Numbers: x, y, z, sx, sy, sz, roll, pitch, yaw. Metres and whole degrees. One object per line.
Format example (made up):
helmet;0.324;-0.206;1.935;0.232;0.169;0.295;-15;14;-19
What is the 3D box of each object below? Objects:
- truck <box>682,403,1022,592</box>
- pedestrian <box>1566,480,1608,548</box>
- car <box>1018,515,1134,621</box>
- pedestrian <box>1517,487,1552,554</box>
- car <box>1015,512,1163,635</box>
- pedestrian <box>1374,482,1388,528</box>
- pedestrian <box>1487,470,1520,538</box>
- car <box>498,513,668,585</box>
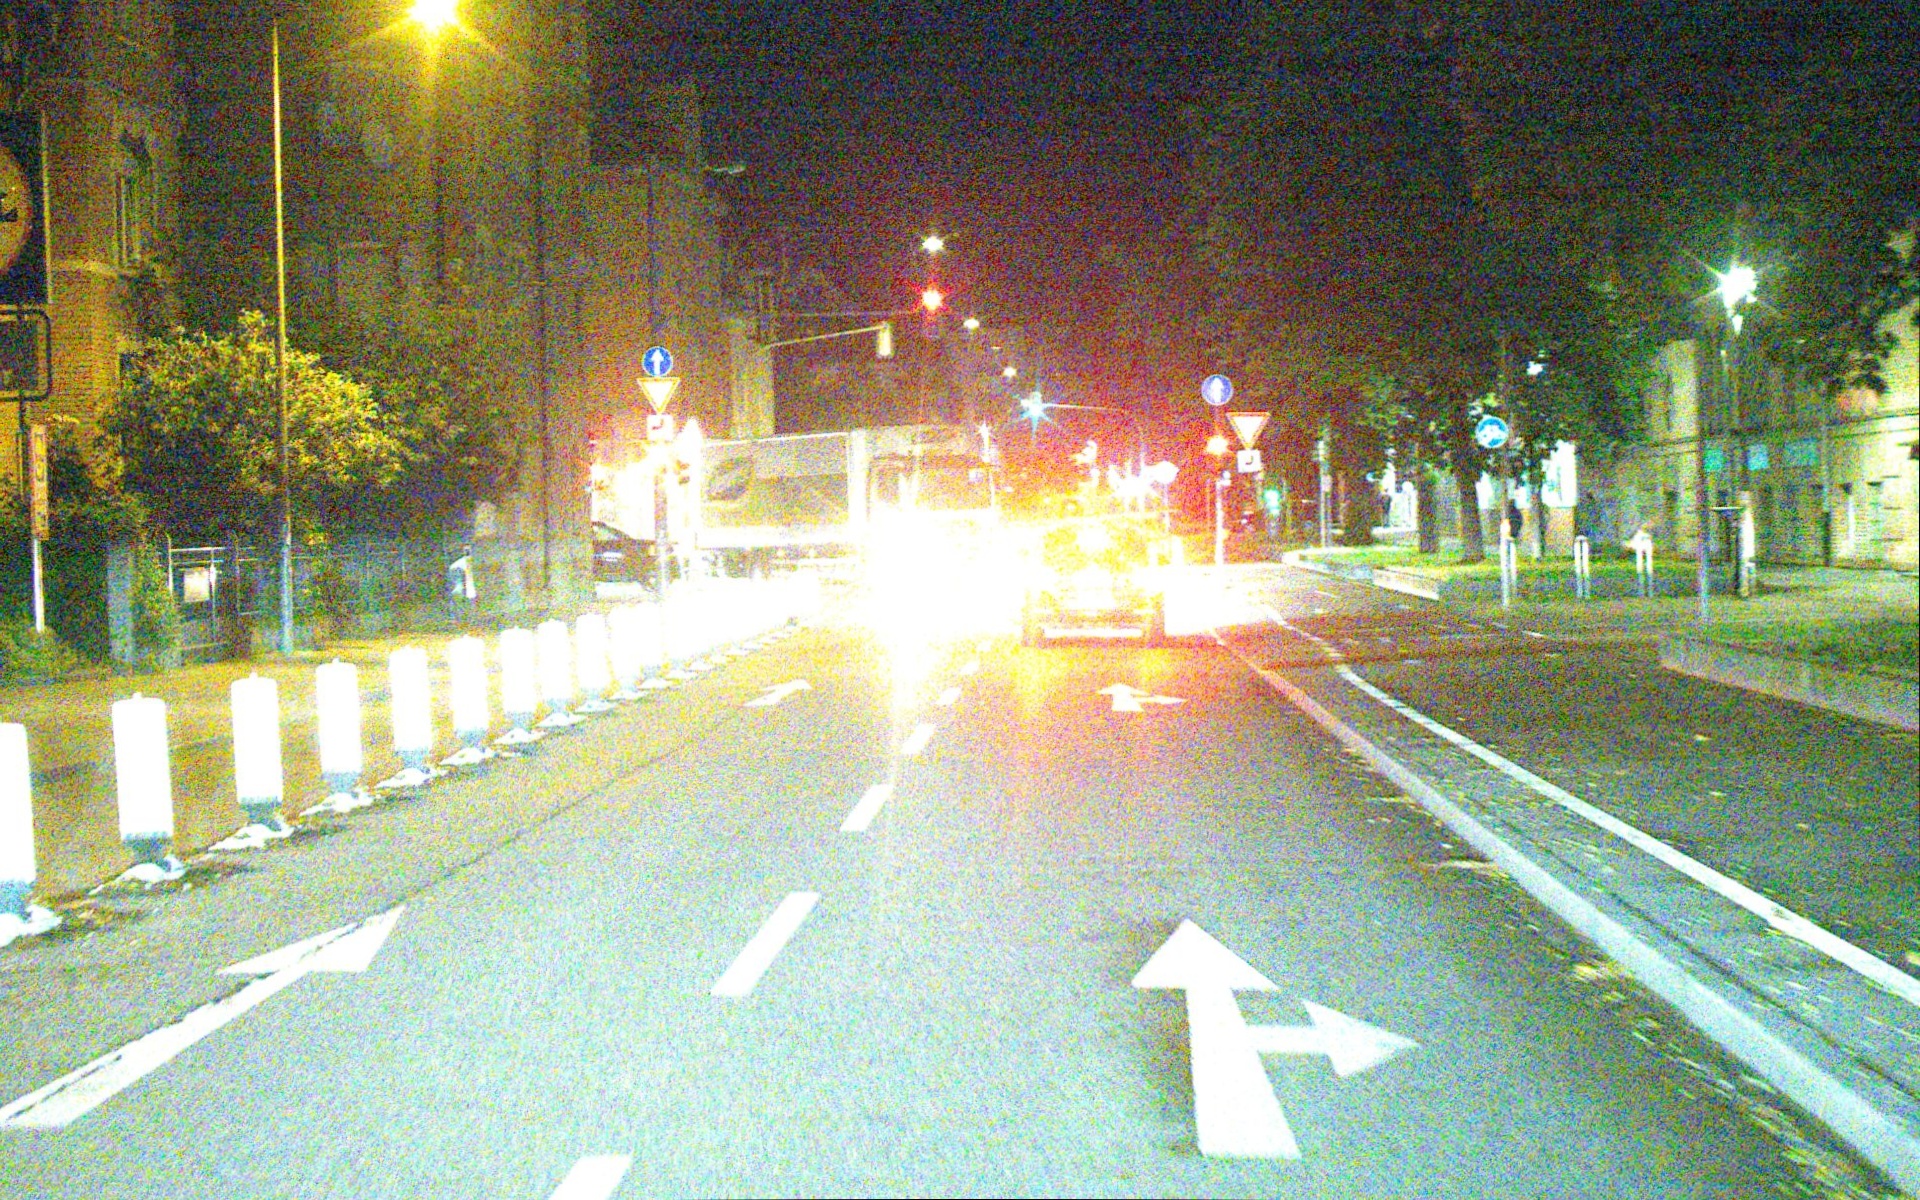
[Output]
truck;-2.522;-2.124;74.544;2.755;3.705;10.113;-4;2;-30
pedestrian;16.738;-2.295;91.804;0.901;1.763;0.907;-2;1;2
car;1.693;-0.500;50.683;1.637;1.489;4.000;0;2;2
pedestrian;15.341;-2.133;91.822;0.739;1.763;0.907;-2;1;2
car;1.688;-0.383;44.657;1.805;1.489;4.729;1;1;2
pedestrian;18.553;-4.169;151.423;0.488;2.007;0.551;-2;1;1
pedestrian;14.515;-2.568;91.830;0.714;1.763;0.907;-2;1;2
car;-9.076;-1.245;82.746;3.986;1.634;2.001;-1;1;-7
